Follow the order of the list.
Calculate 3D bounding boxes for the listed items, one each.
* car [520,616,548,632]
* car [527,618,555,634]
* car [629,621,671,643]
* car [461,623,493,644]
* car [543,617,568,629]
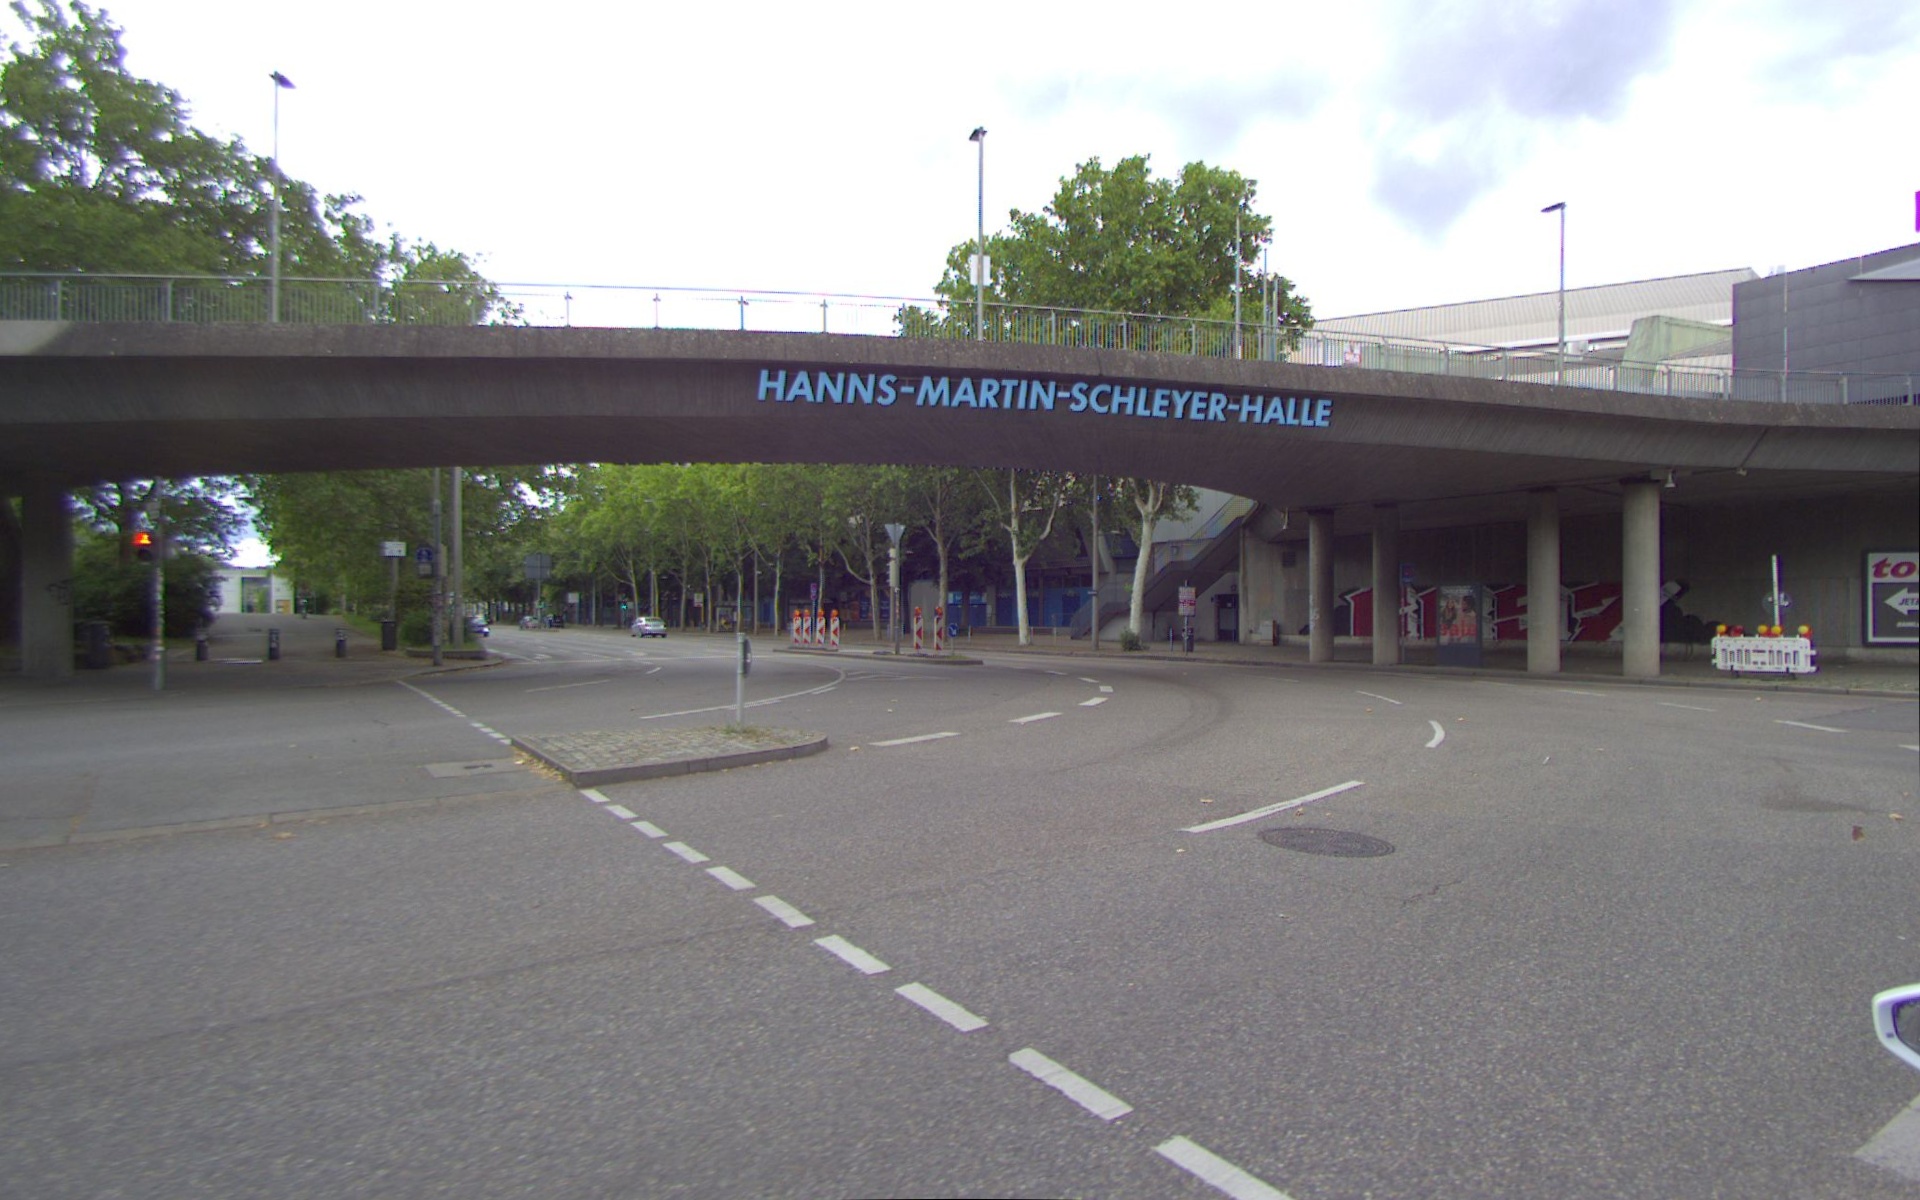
[{"bbox_3d":[-49.030,2.754,115.509,1.983,1.682,3.955,1,-1,-39],"label":"car"},{"bbox_3d":[-41.578,2.587,99.712,1.978,1.437,3.965,1,-1,-32],"label":"car"},{"bbox_3d":[-22.257,2.268,72.080,1.978,1.437,3.965,1,-1,-32],"label":"car"},{"bbox_3d":[-35.605,2.462,73.997,1.744,1.338,3.684,2,0,-31],"label":"car"},{"bbox_3d":[-49.976,2.810,124.013,1.835,1.443,3.955,1,-1,-39],"label":"car"}]
